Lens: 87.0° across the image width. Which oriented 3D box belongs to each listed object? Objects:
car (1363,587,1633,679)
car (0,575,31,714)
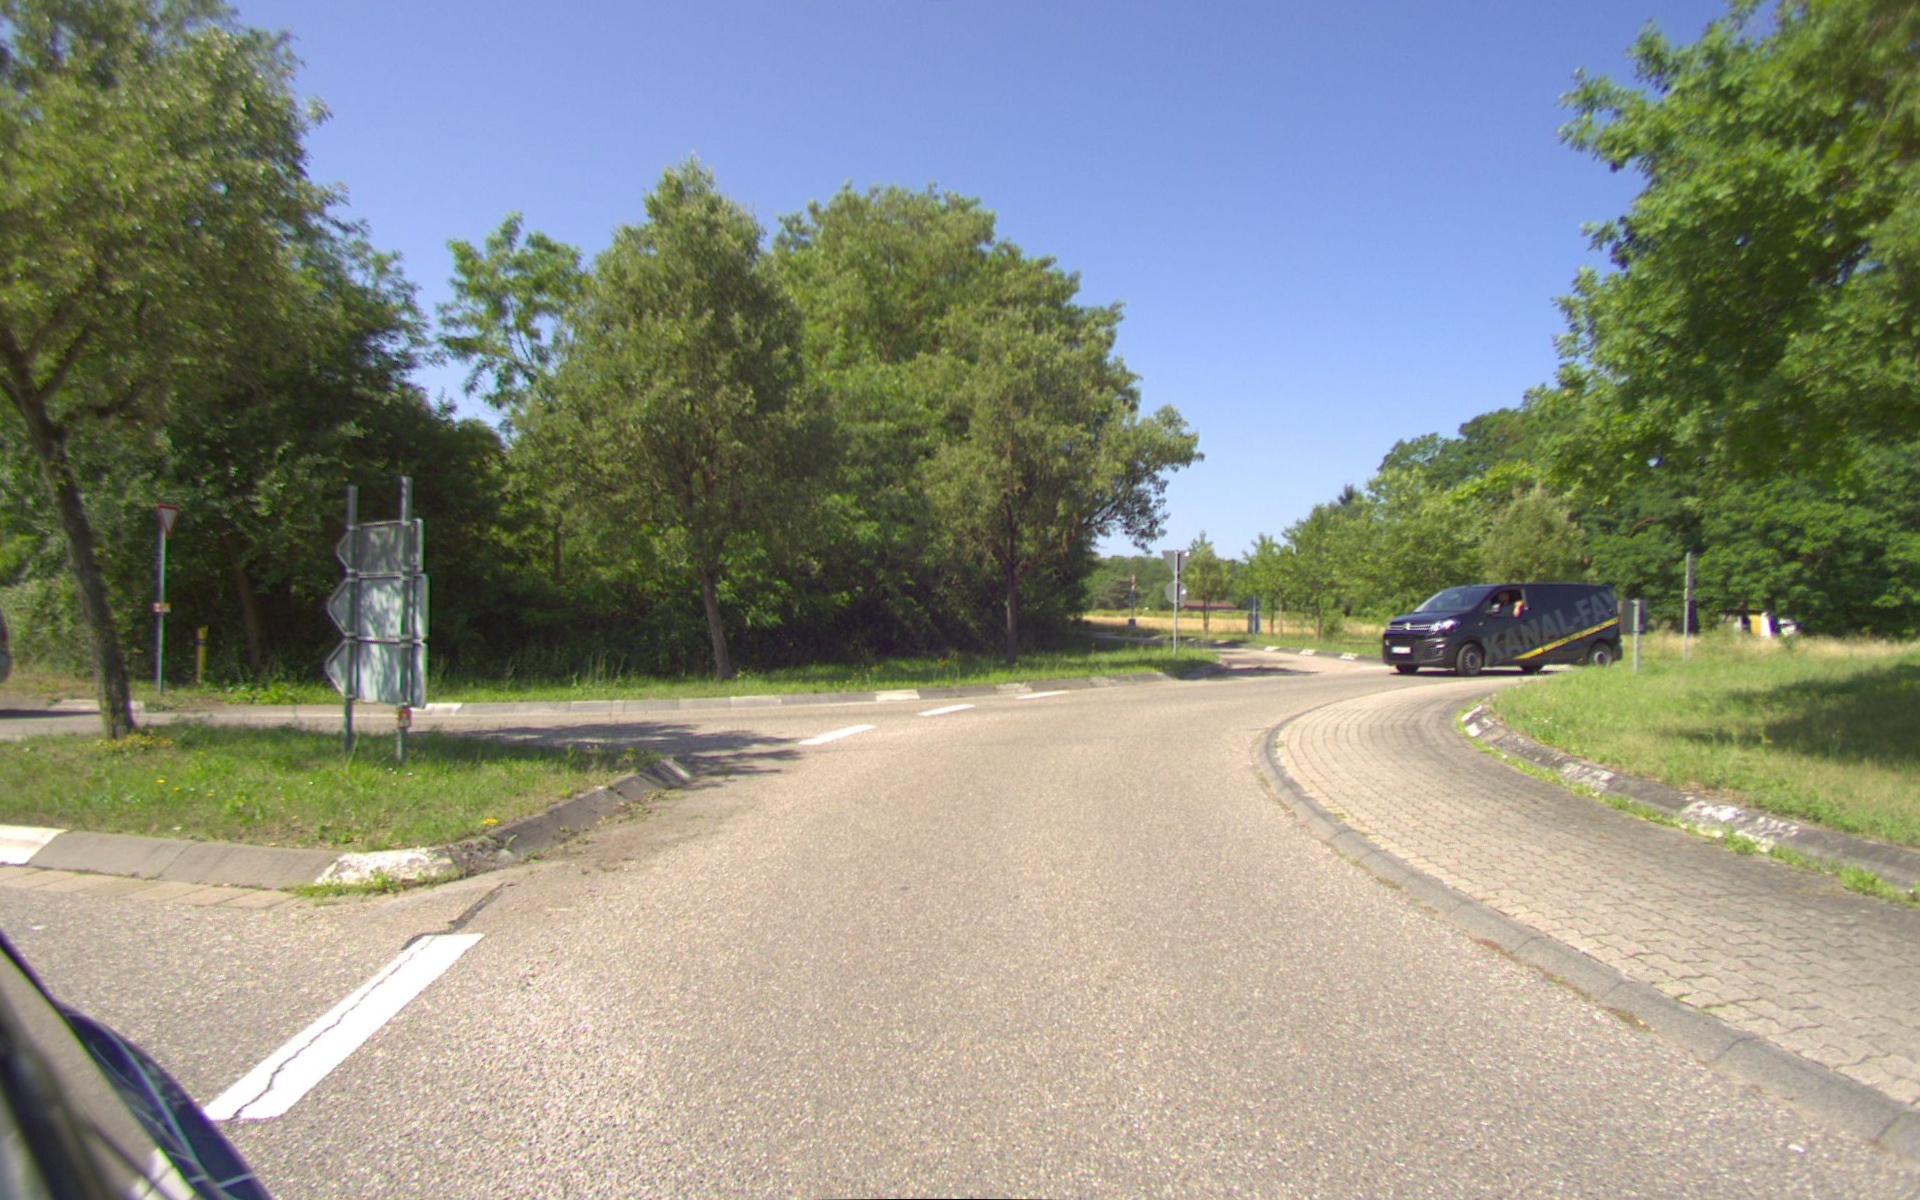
[{"bbox_3d":[10.910,0.633,20.621,4.638,1.727,2.107,0,0,-14],"label":"car"},{"bbox_3d":[-14.946,0.552,12.854,4.531,1.829,1.900,1,-1,0],"label":"car"}]
